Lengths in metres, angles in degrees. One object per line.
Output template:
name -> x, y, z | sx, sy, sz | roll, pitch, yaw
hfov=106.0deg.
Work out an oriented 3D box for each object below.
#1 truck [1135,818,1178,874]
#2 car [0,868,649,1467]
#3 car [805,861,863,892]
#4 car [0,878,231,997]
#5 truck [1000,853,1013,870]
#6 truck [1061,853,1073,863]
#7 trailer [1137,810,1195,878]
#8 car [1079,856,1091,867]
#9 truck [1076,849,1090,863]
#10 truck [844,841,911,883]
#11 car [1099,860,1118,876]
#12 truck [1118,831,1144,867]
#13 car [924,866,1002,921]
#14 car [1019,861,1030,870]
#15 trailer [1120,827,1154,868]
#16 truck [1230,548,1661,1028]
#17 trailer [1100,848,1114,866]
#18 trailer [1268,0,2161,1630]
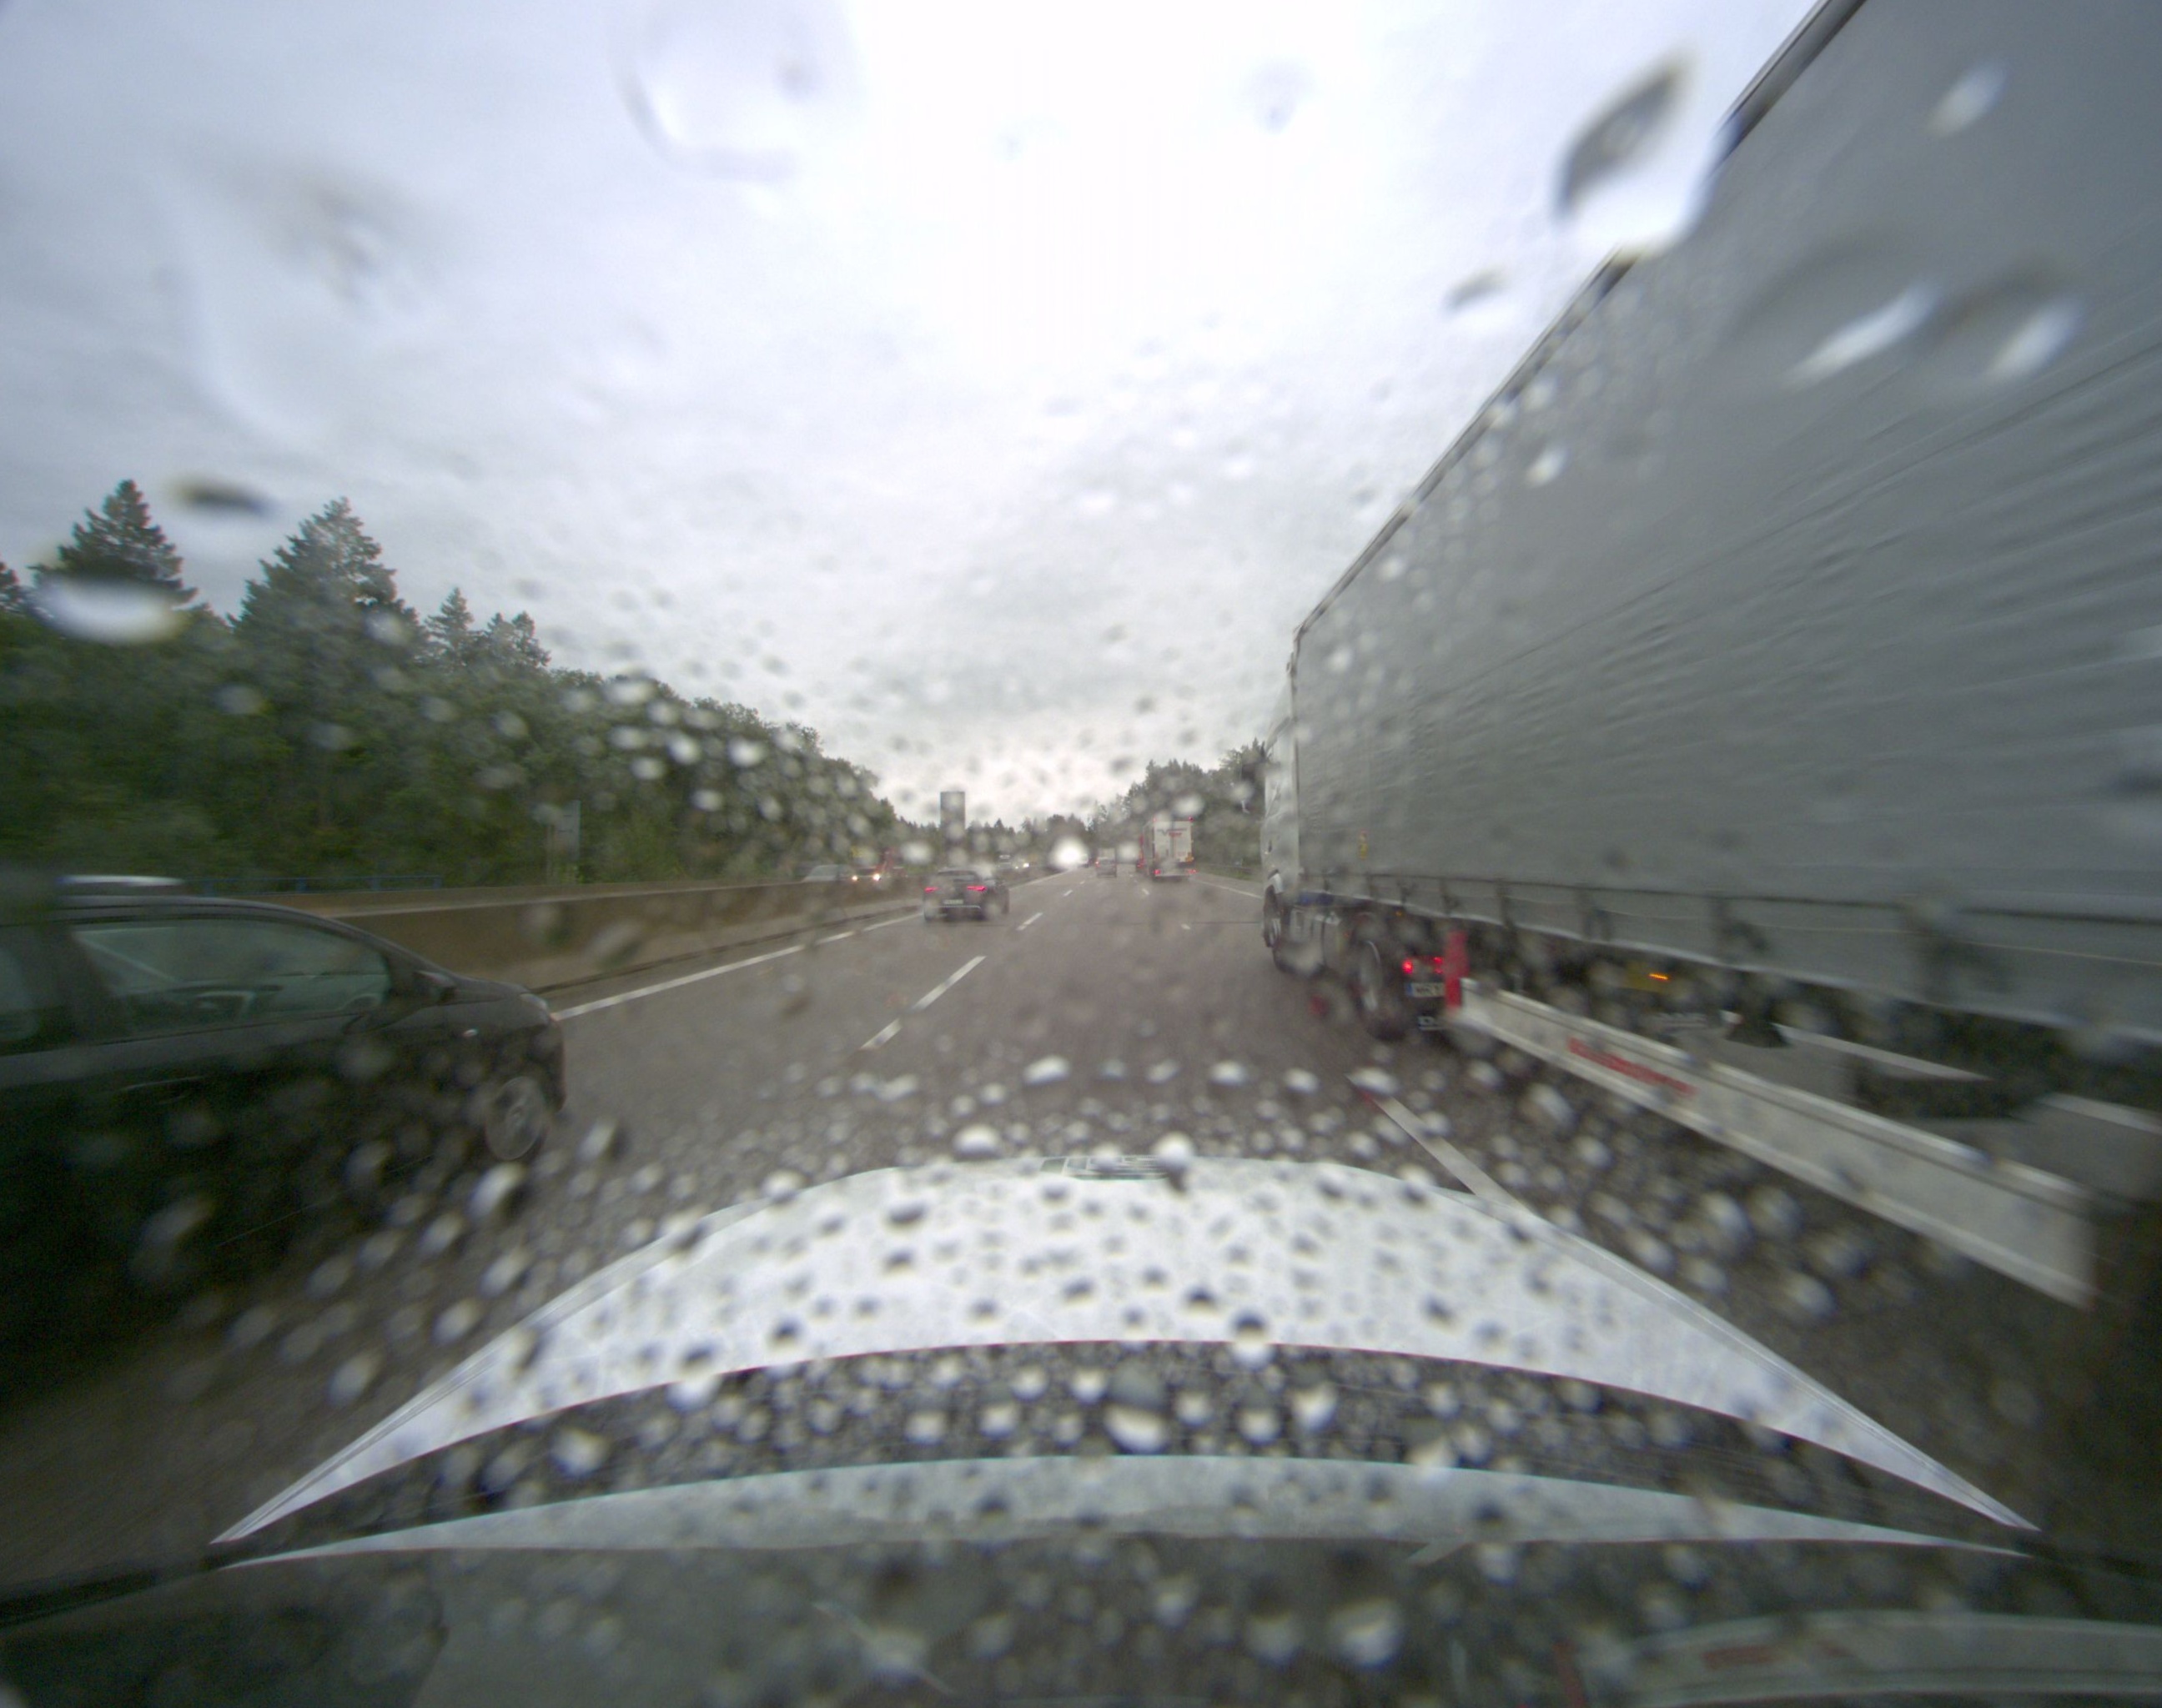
truck -> 5.864, -0.598, 64.234 | 2.789, 4.103, 5.967 | -2, 0, 0
car -> -3.526, 0.814, 3.162 | 1.678, 1.462, 3.684 | -1, 0, 1
car -> -13.298, 1.160, 44.110 | 1.698, 1.578, 4.269 | -1, 0, 2
car -> -15.143, 1.154, 11.853 | 1.651, 1.521, 3.640 | -1, 0, 2
truck -> -17.527, 1.747, 192.270 | 2.559, 3.667, 10.478 | -2, 0, -3
truck -> -4.339, 1.300, 248.000 | 3.079, 2.905, 7.887 | -2, 1, -6
trailer -> 5.770, -0.585, 57.743 | 2.725, 4.103, 13.683 | -2, 0, 1
car -> 0.805, 1.412, 159.659 | 1.989, 2.059, 3.996 | -3, 0, -3
truck -> 0.490, 0.532, 247.634 | 3.363, 4.131, 10.421 | -2, 0, -4
truck -> -16.778, 0.648, 67.934 | 2.423, 3.174, 10.667 | -1, 0, 2
car -> 2.429, 1.202, 71.226 | 1.547, 1.351, 3.687 | -1, 0, 3
truck -> 5.719, -0.579, 94.253 | 2.368, 3.953, 6.158 | -3, 0, -1
car -> -3.161, 1.022, 22.388 | 1.548, 1.351, 3.684 | -1, 0, 1
car -> -11.241, 2.281, 162.280 | 1.602, 1.554, 4.644 | -2, 0, 2
trailer -> 5.796, -0.616, 85.868 | 2.363, 3.954, 12.515 | -2, 0, -1
truck -> 3.603, -0.544, 9.771 | 2.711, 4.041, 5.754 | -1, 0, 2
trailer -> 6.236, 0.640, 195.593 | 2.413, 4.068, 12.047 | -2, 0, -1
trailer -> 3.354, -0.595, 2.805 | 2.669, 4.041, 13.710 | -1, 0, 2
